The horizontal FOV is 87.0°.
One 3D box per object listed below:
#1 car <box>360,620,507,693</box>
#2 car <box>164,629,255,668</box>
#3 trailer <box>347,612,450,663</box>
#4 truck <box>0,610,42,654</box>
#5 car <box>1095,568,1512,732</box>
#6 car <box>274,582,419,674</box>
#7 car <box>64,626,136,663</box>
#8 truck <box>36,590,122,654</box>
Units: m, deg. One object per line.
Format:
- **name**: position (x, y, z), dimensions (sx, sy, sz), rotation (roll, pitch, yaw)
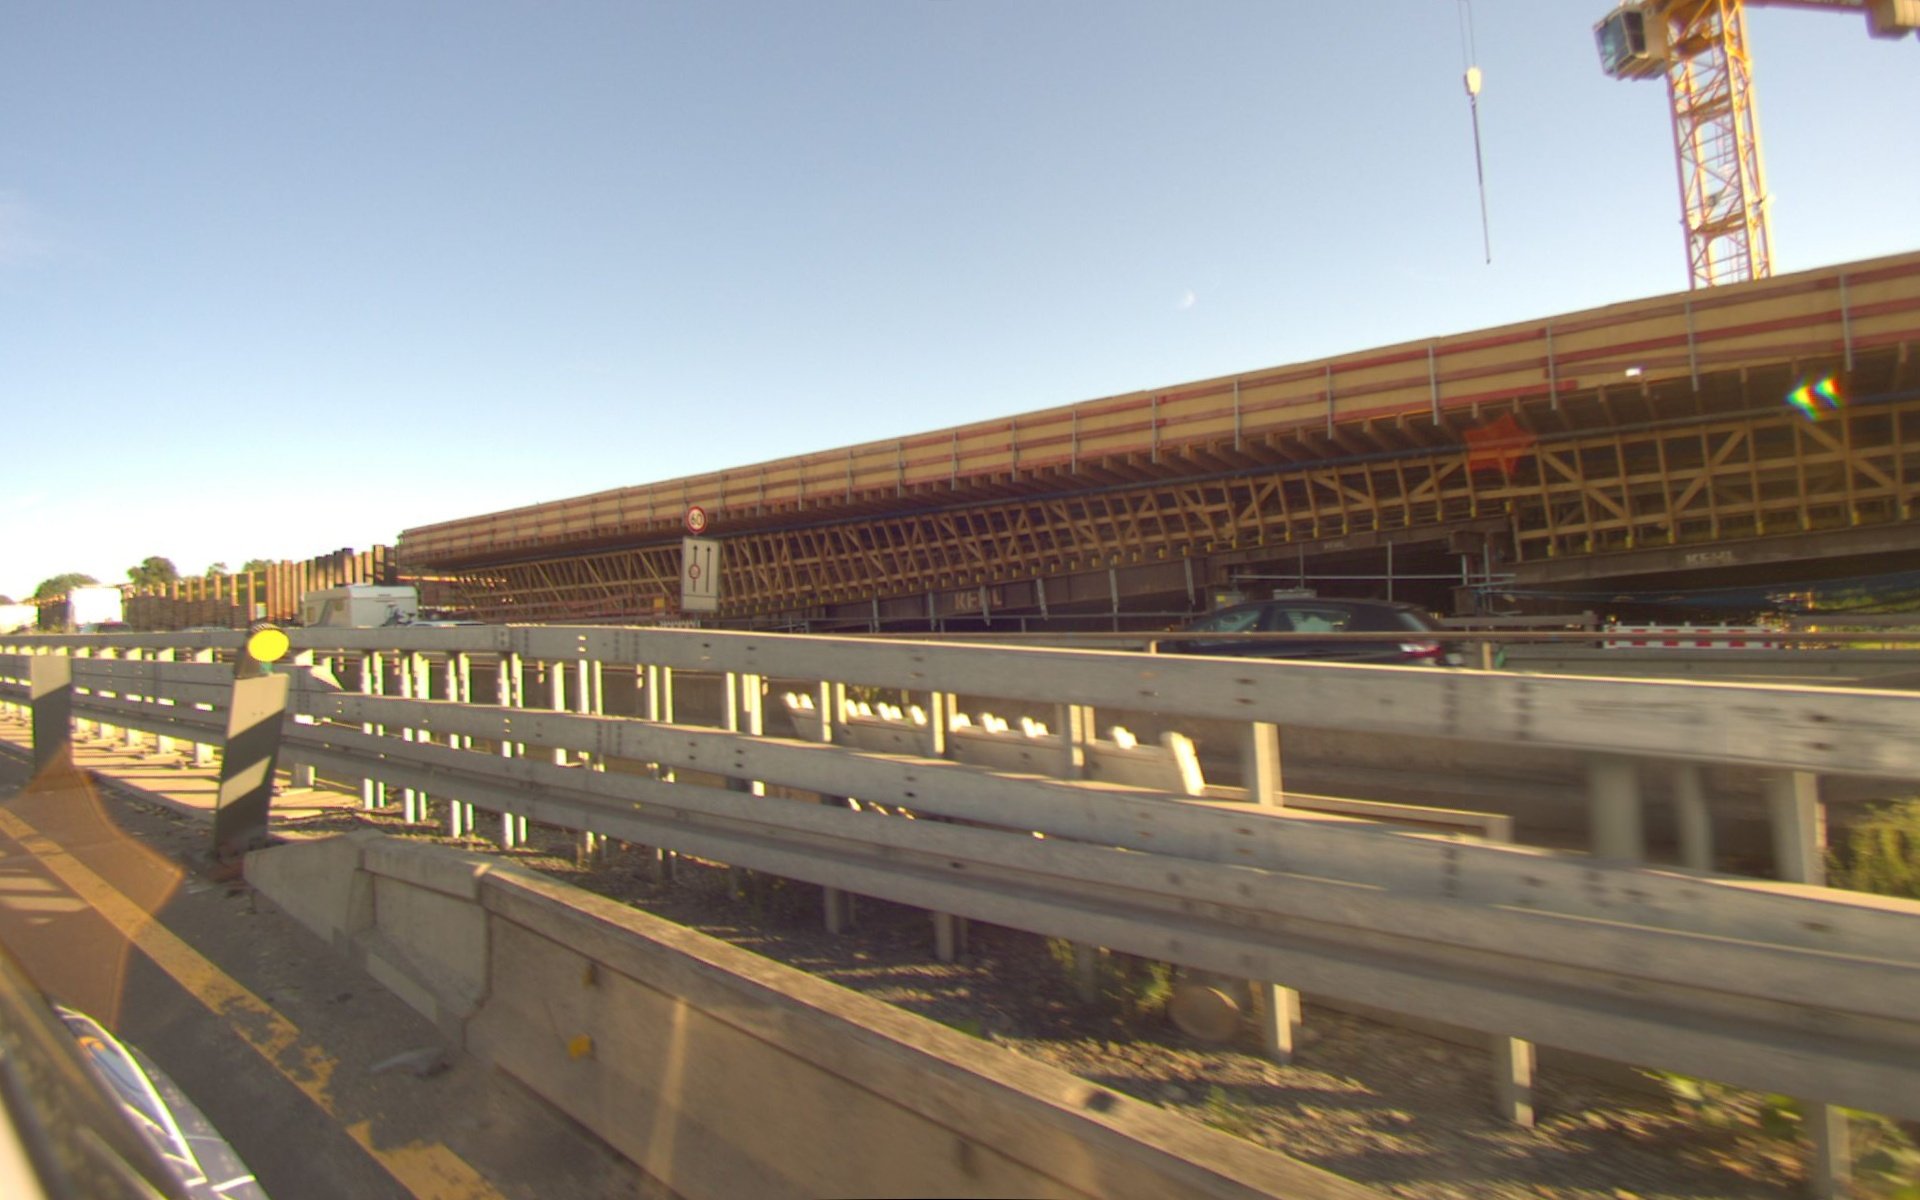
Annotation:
- **car**: position (-13.094, 1.355, 25.084), dimensions (4.108, 1.613, 1.713), rotation (-2, 0, 39)
- **car**: position (-27.482, 1.766, 37.033), dimensions (4.108, 1.287, 1.713), rotation (-2, 0, 39)
- **trailer**: position (-18.545, 1.226, 33.436), dimensions (2.141, 1.524, 2.300), rotation (-2, 0, 37)
- **truck**: position (-74.875, 2.555, 79.672), dimensions (7.155, 3.267, 2.740), rotation (-2, 0, 39)
- **car**: position (3.656, 0.495, 11.181), dimensions (3.998, 1.400, 1.644), rotation (-2, 3, 42)
- **car**: position (-21.892, 0.986, 35.991), dimensions (6.153, 2.989, 2.306), rotation (-2, 0, 37)
- **car**: position (-39.395, 2.034, 46.334), dimensions (4.105, 1.531, 1.601), rotation (-2, 0, 37)
- **truck**: position (-54.367, 1.378, 62.414), dimensions (7.155, 3.754, 2.762), rotation (-2, 0, 39)
